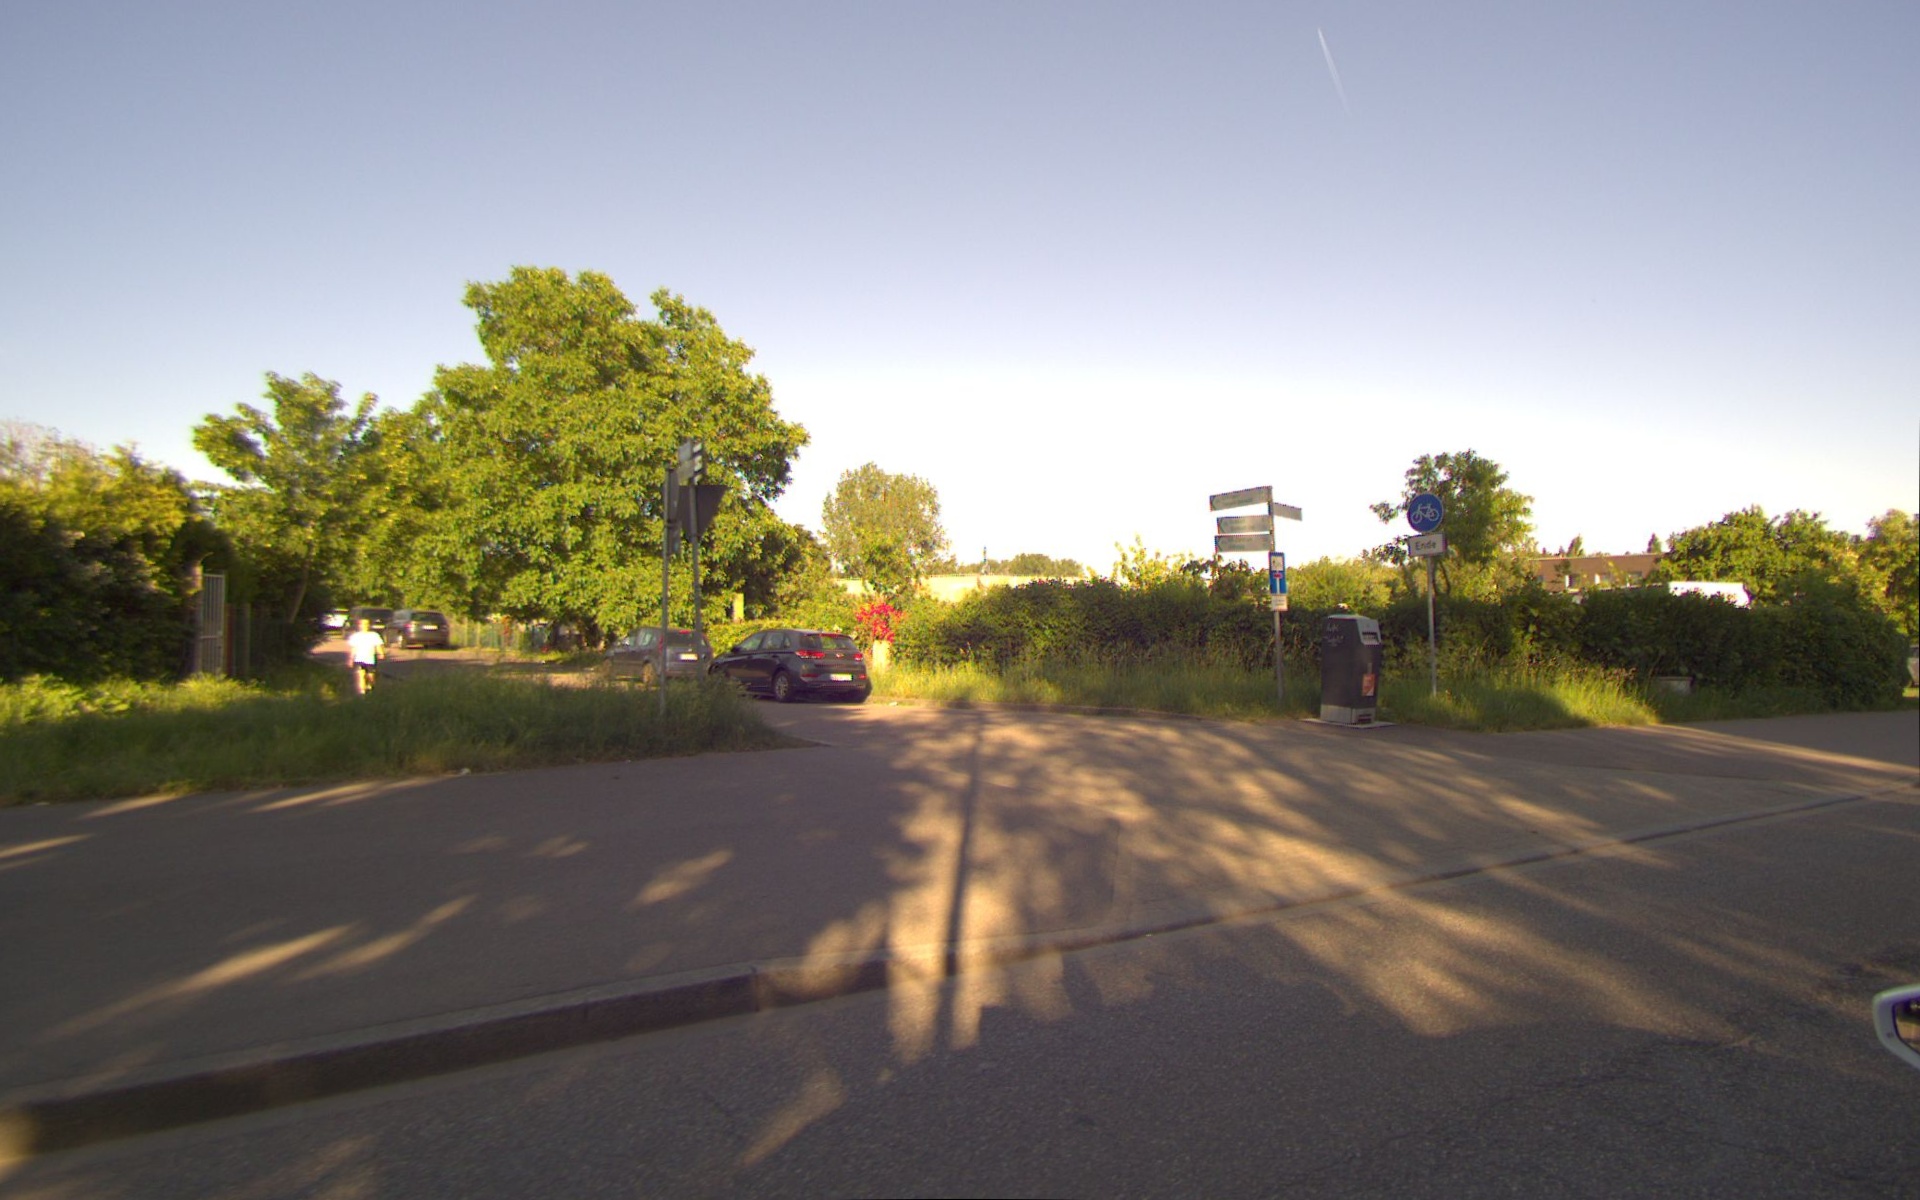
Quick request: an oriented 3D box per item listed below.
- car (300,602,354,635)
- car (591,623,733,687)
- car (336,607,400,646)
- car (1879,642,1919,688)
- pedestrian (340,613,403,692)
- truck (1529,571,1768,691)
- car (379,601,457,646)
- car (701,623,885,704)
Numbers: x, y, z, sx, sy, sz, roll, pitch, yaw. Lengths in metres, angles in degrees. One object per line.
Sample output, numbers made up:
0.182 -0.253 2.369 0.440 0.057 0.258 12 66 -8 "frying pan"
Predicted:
-36.396 1.068 57.701 1.876 1.768 3.987 5 -4 -42 "car"
-7.682 1.381 25.683 1.876 1.466 3.987 5 -4 -42 "car"
-29.426 1.325 49.848 1.876 1.768 3.987 5 -4 -42 "car"
33.340 2.249 33.241 1.840 1.510 4.222 3 -1 -3 "car"
-11.154 1.003 19.032 0.807 1.422 1.009 5 -5 -39 "pedestrian"
26.049 1.224 38.798 2.658 3.934 9.336 2 -2 -1 "truck"
-22.879 0.989 42.349 1.876 1.768 3.987 5 -4 -42 "car"
-3.558 1.289 20.903 1.876 1.466 3.987 5 -4 -42 "car"
